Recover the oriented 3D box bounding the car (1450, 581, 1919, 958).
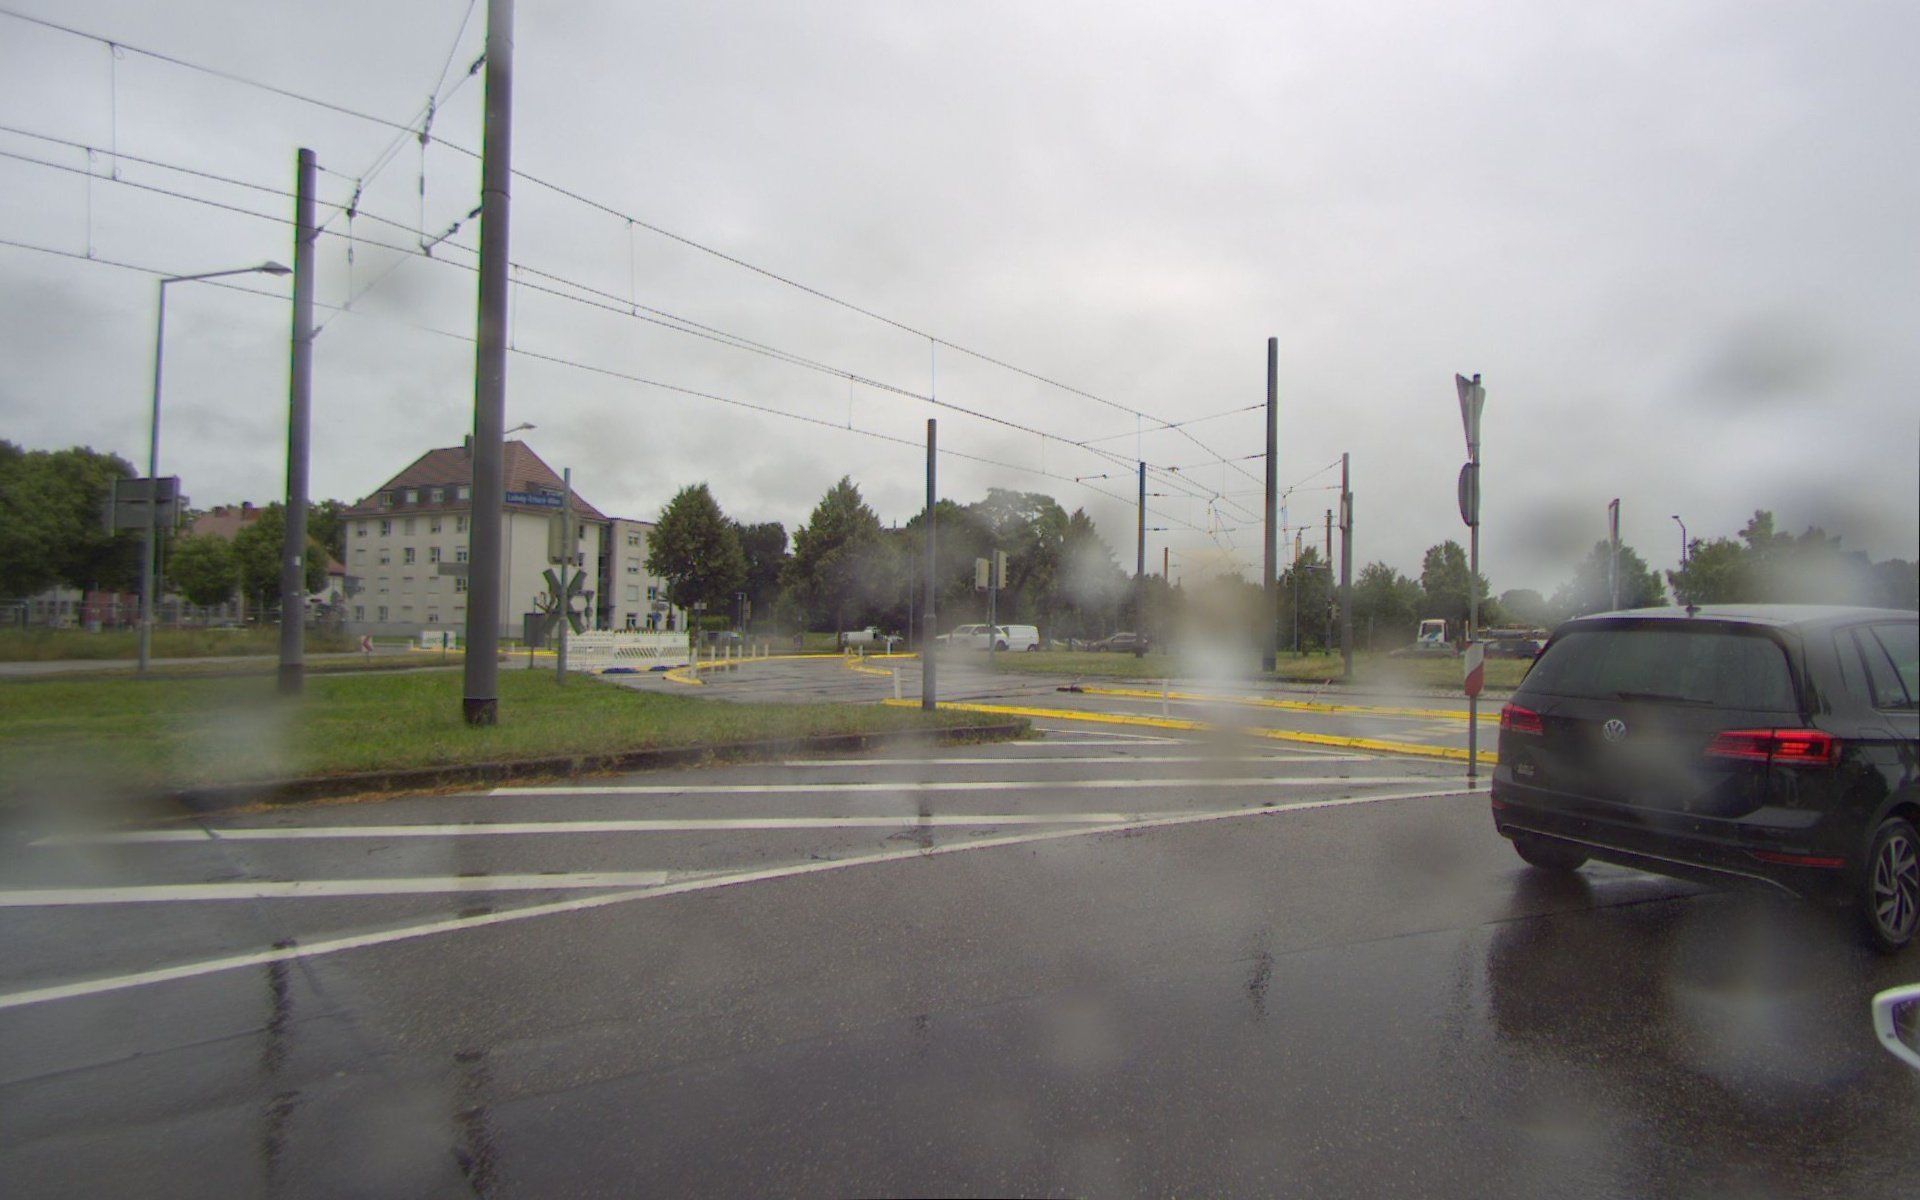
[{"bbox_3d":[5.101,0.781,5.861,4.276,1.537,1.777,3,0,-27],"label":"car"}]

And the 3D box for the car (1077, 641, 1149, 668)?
[{"bbox_3d":[10.215,3.606,67.110,4.465,1.511,1.610,3,0,-7],"label":"car"}]

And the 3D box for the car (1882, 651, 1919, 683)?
[{"bbox_3d":[54.547,3.816,56.235,3.928,1.669,1.786,3,0,30],"label":"car"}]

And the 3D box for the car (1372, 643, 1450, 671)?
[{"bbox_3d":[29.454,3.689,65.600,4.467,1.511,1.609,3,0,30],"label":"car"}]

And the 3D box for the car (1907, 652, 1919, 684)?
[{"bbox_3d":[52.108,3.661,52.144,3.928,1.669,1.786,3,0,30],"label":"car"}]

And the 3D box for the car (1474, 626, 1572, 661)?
[{"bbox_3d":[32.799,2.513,58.663,4.773,1.767,1.777,3,0,24],"label":"car"}]

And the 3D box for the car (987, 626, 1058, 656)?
[{"bbox_3d":[3.951,2.588,63.290,4.119,1.746,1.819,3,0,-31],"label":"car"}]

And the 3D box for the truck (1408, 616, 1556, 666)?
[{"bbox_3d":[34.836,2.704,67.377,8.632,2.747,1.998,3,0,26],"label":"truck"}]

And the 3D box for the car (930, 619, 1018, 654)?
[{"bbox_3d":[0.821,2.013,54.936,4.830,1.767,1.756,3,0,-42],"label":"car"}]

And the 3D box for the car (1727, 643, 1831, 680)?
[{"bbox_3d":[43.222,3.213,53.109,3.928,1.669,1.786,3,0,30],"label":"car"}]

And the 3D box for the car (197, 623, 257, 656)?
[{"bbox_3d":[-58.681,3.127,80.395,4.753,2.357,1.997,3,0,29],"label":"car"}]
